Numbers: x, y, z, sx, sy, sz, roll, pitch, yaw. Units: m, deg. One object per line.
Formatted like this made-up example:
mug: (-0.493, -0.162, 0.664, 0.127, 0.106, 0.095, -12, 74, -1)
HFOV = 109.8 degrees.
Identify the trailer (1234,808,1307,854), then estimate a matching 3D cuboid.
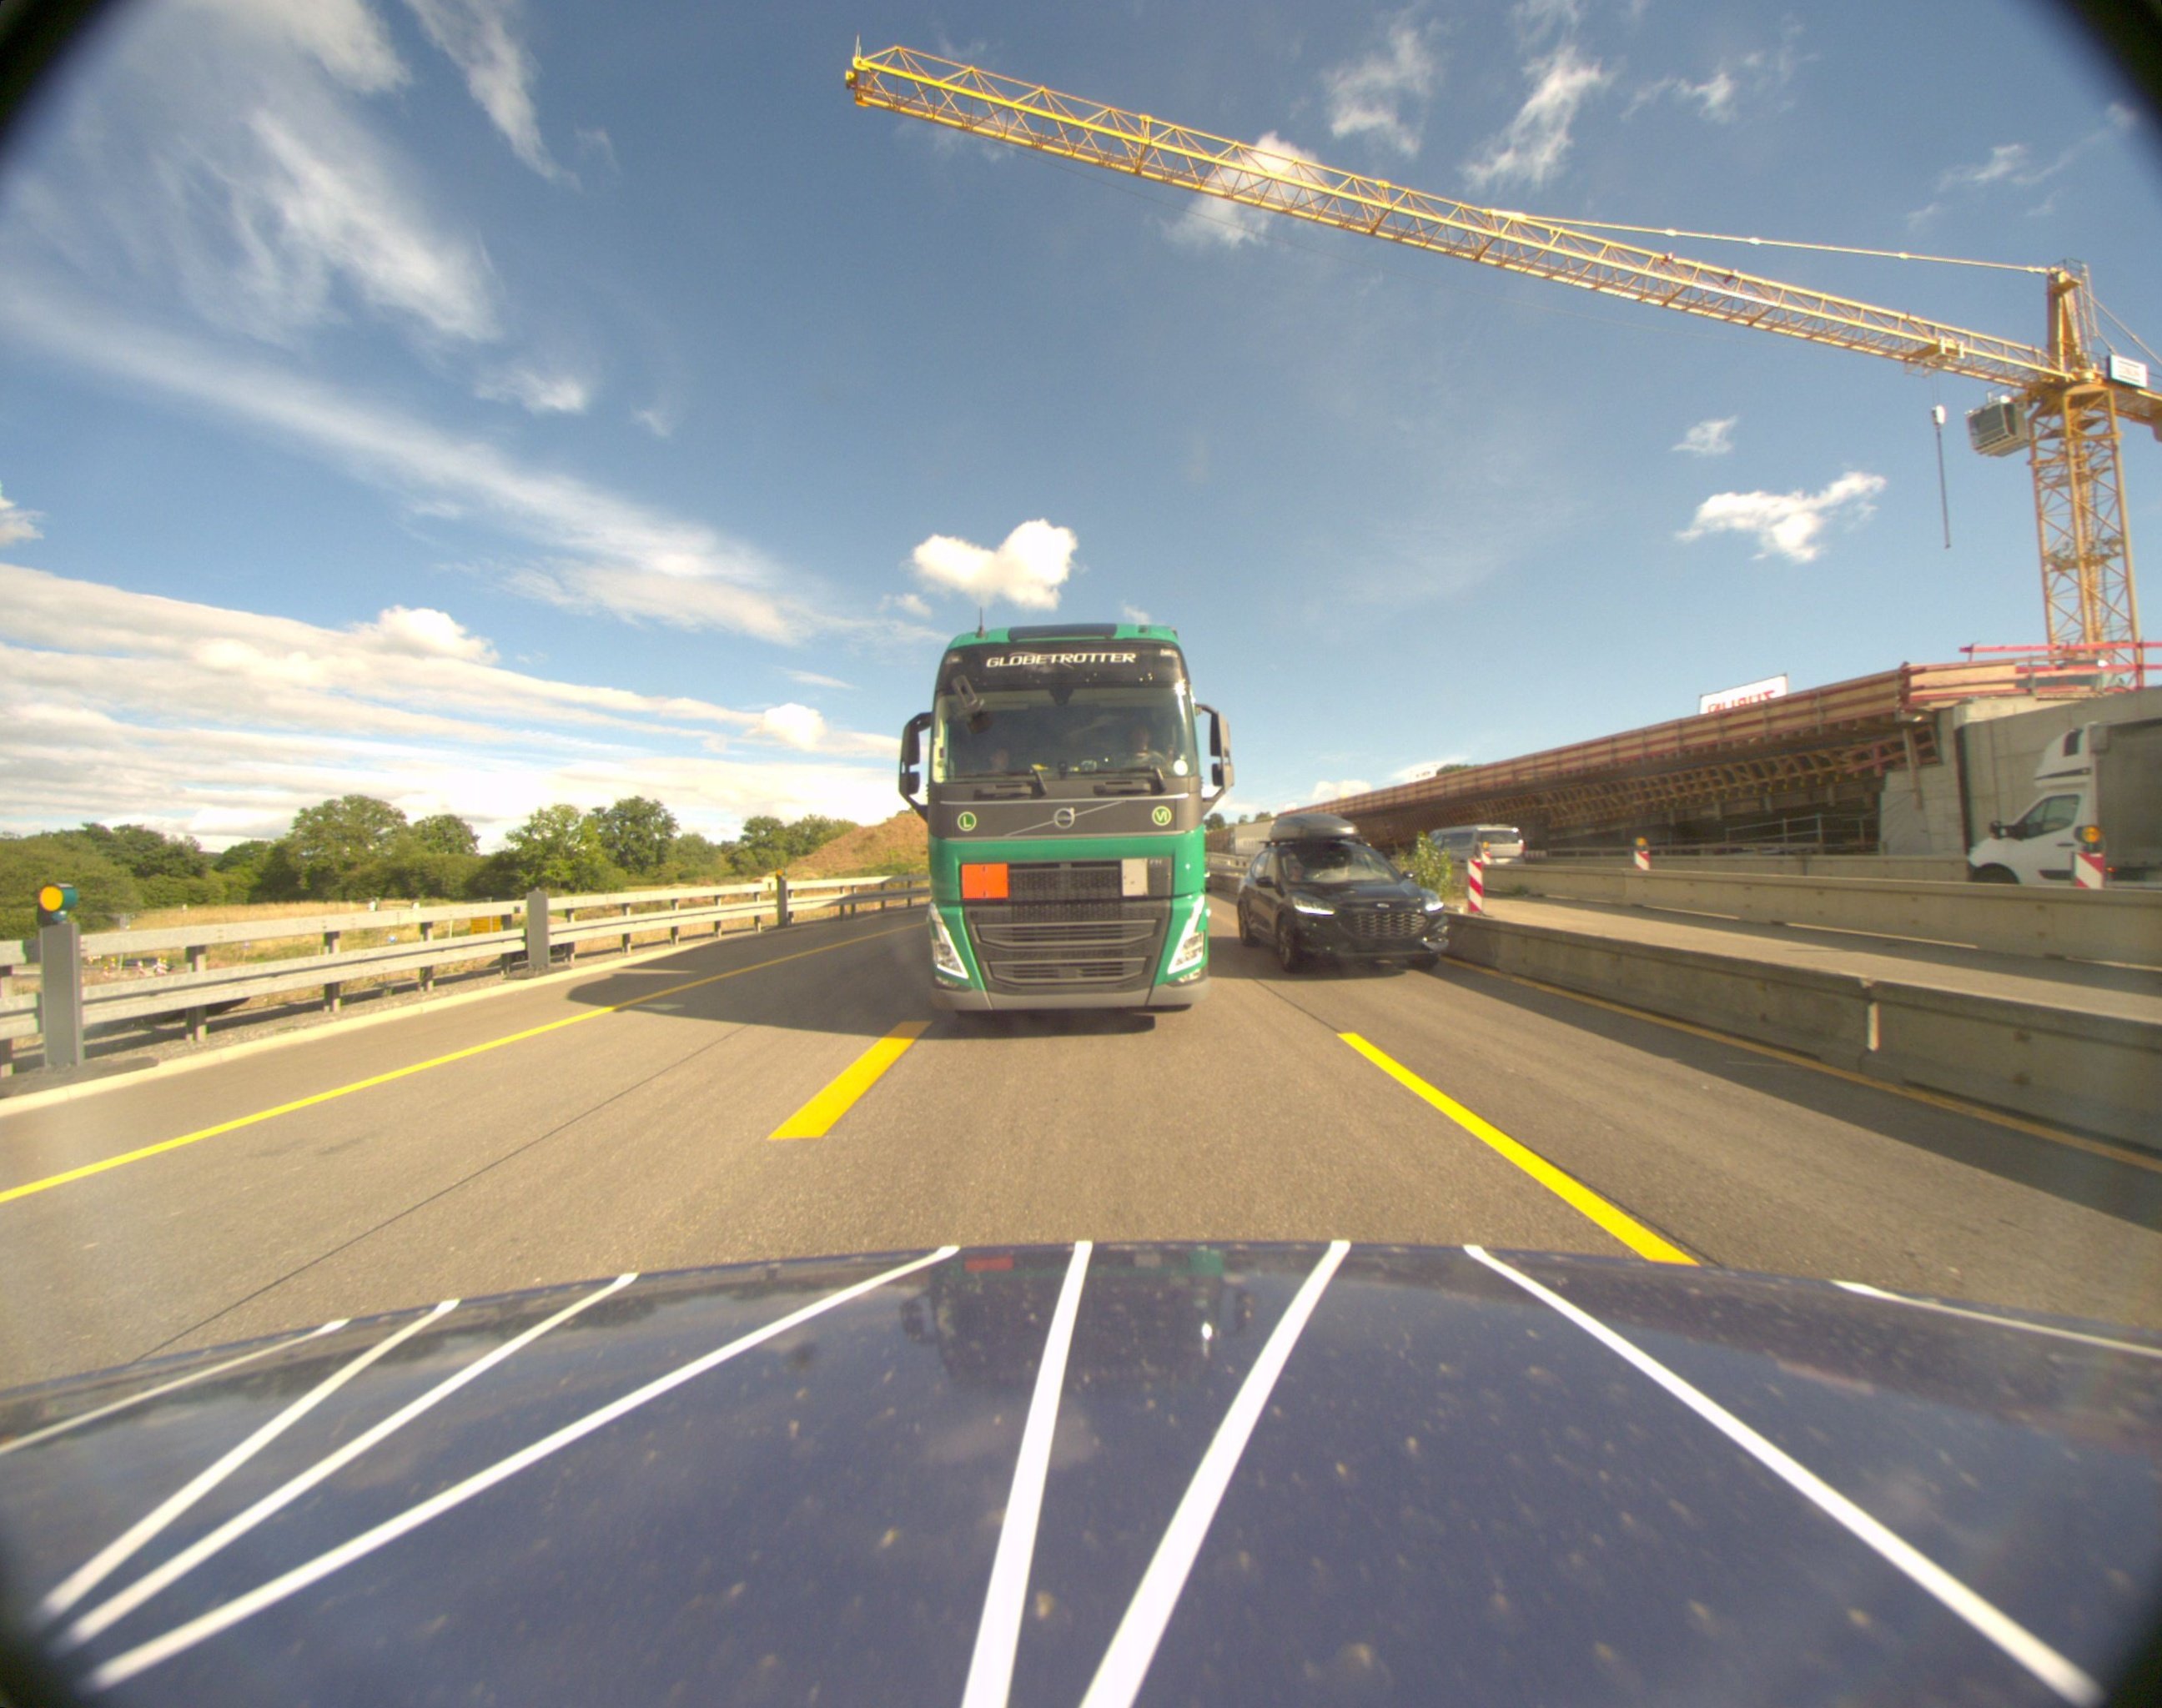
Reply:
trailer: (17.591, -2.073, 71.892, 2.828, 3.819, 13.798, -2, 1, -2)

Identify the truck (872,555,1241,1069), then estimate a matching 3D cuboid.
truck: (-0.164, -0.394, 10.974, 2.663, 3.825, 10.315, -2, 1, 0)

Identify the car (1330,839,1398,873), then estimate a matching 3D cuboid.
car: (15.574, 0.115, 42.018, 2.131, 1.664, 4.272, -3, 0, 0)

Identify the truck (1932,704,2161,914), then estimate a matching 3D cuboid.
truck: (18.245, -0.751, 11.542, 2.706, 3.293, 7.539, -2, 1, 6)

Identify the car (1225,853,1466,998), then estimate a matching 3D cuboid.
car: (3.319, 0.796, 10.537, 1.804, 1.533, 4.384, -2, 0, 0)

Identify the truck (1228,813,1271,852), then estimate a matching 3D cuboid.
truck: (17.335, -2.158, 78.446, 2.784, 3.767, 6.016, -2, 1, -2)

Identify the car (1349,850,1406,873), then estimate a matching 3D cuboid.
car: (18.802, 0.446, 48.358, 1.925, 1.265, 3.999, -2, 1, -1)

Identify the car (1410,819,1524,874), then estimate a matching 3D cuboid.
car: (18.686, -0.379, 37.201, 2.264, 2.389, 5.864, -3, 1, -3)

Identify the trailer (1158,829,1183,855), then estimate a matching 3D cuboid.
trailer: (15.684, -2.147, 134.805, 2.694, 4.132, 13.809, -2, 1, 0)

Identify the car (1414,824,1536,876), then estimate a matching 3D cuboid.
car: (15.275, -0.124, 29.831, 2.131, 1.755, 5.031, -3, 0, 0)

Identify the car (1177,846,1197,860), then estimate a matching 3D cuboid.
car: (14.003, -0.204, 100.432, 1.998, 1.717, 4.122, -2, 1, 1)

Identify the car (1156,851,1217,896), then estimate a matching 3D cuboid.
car: (3.962, 0.696, 29.238, 1.948, 1.422, 4.505, -2, 2, 4)
